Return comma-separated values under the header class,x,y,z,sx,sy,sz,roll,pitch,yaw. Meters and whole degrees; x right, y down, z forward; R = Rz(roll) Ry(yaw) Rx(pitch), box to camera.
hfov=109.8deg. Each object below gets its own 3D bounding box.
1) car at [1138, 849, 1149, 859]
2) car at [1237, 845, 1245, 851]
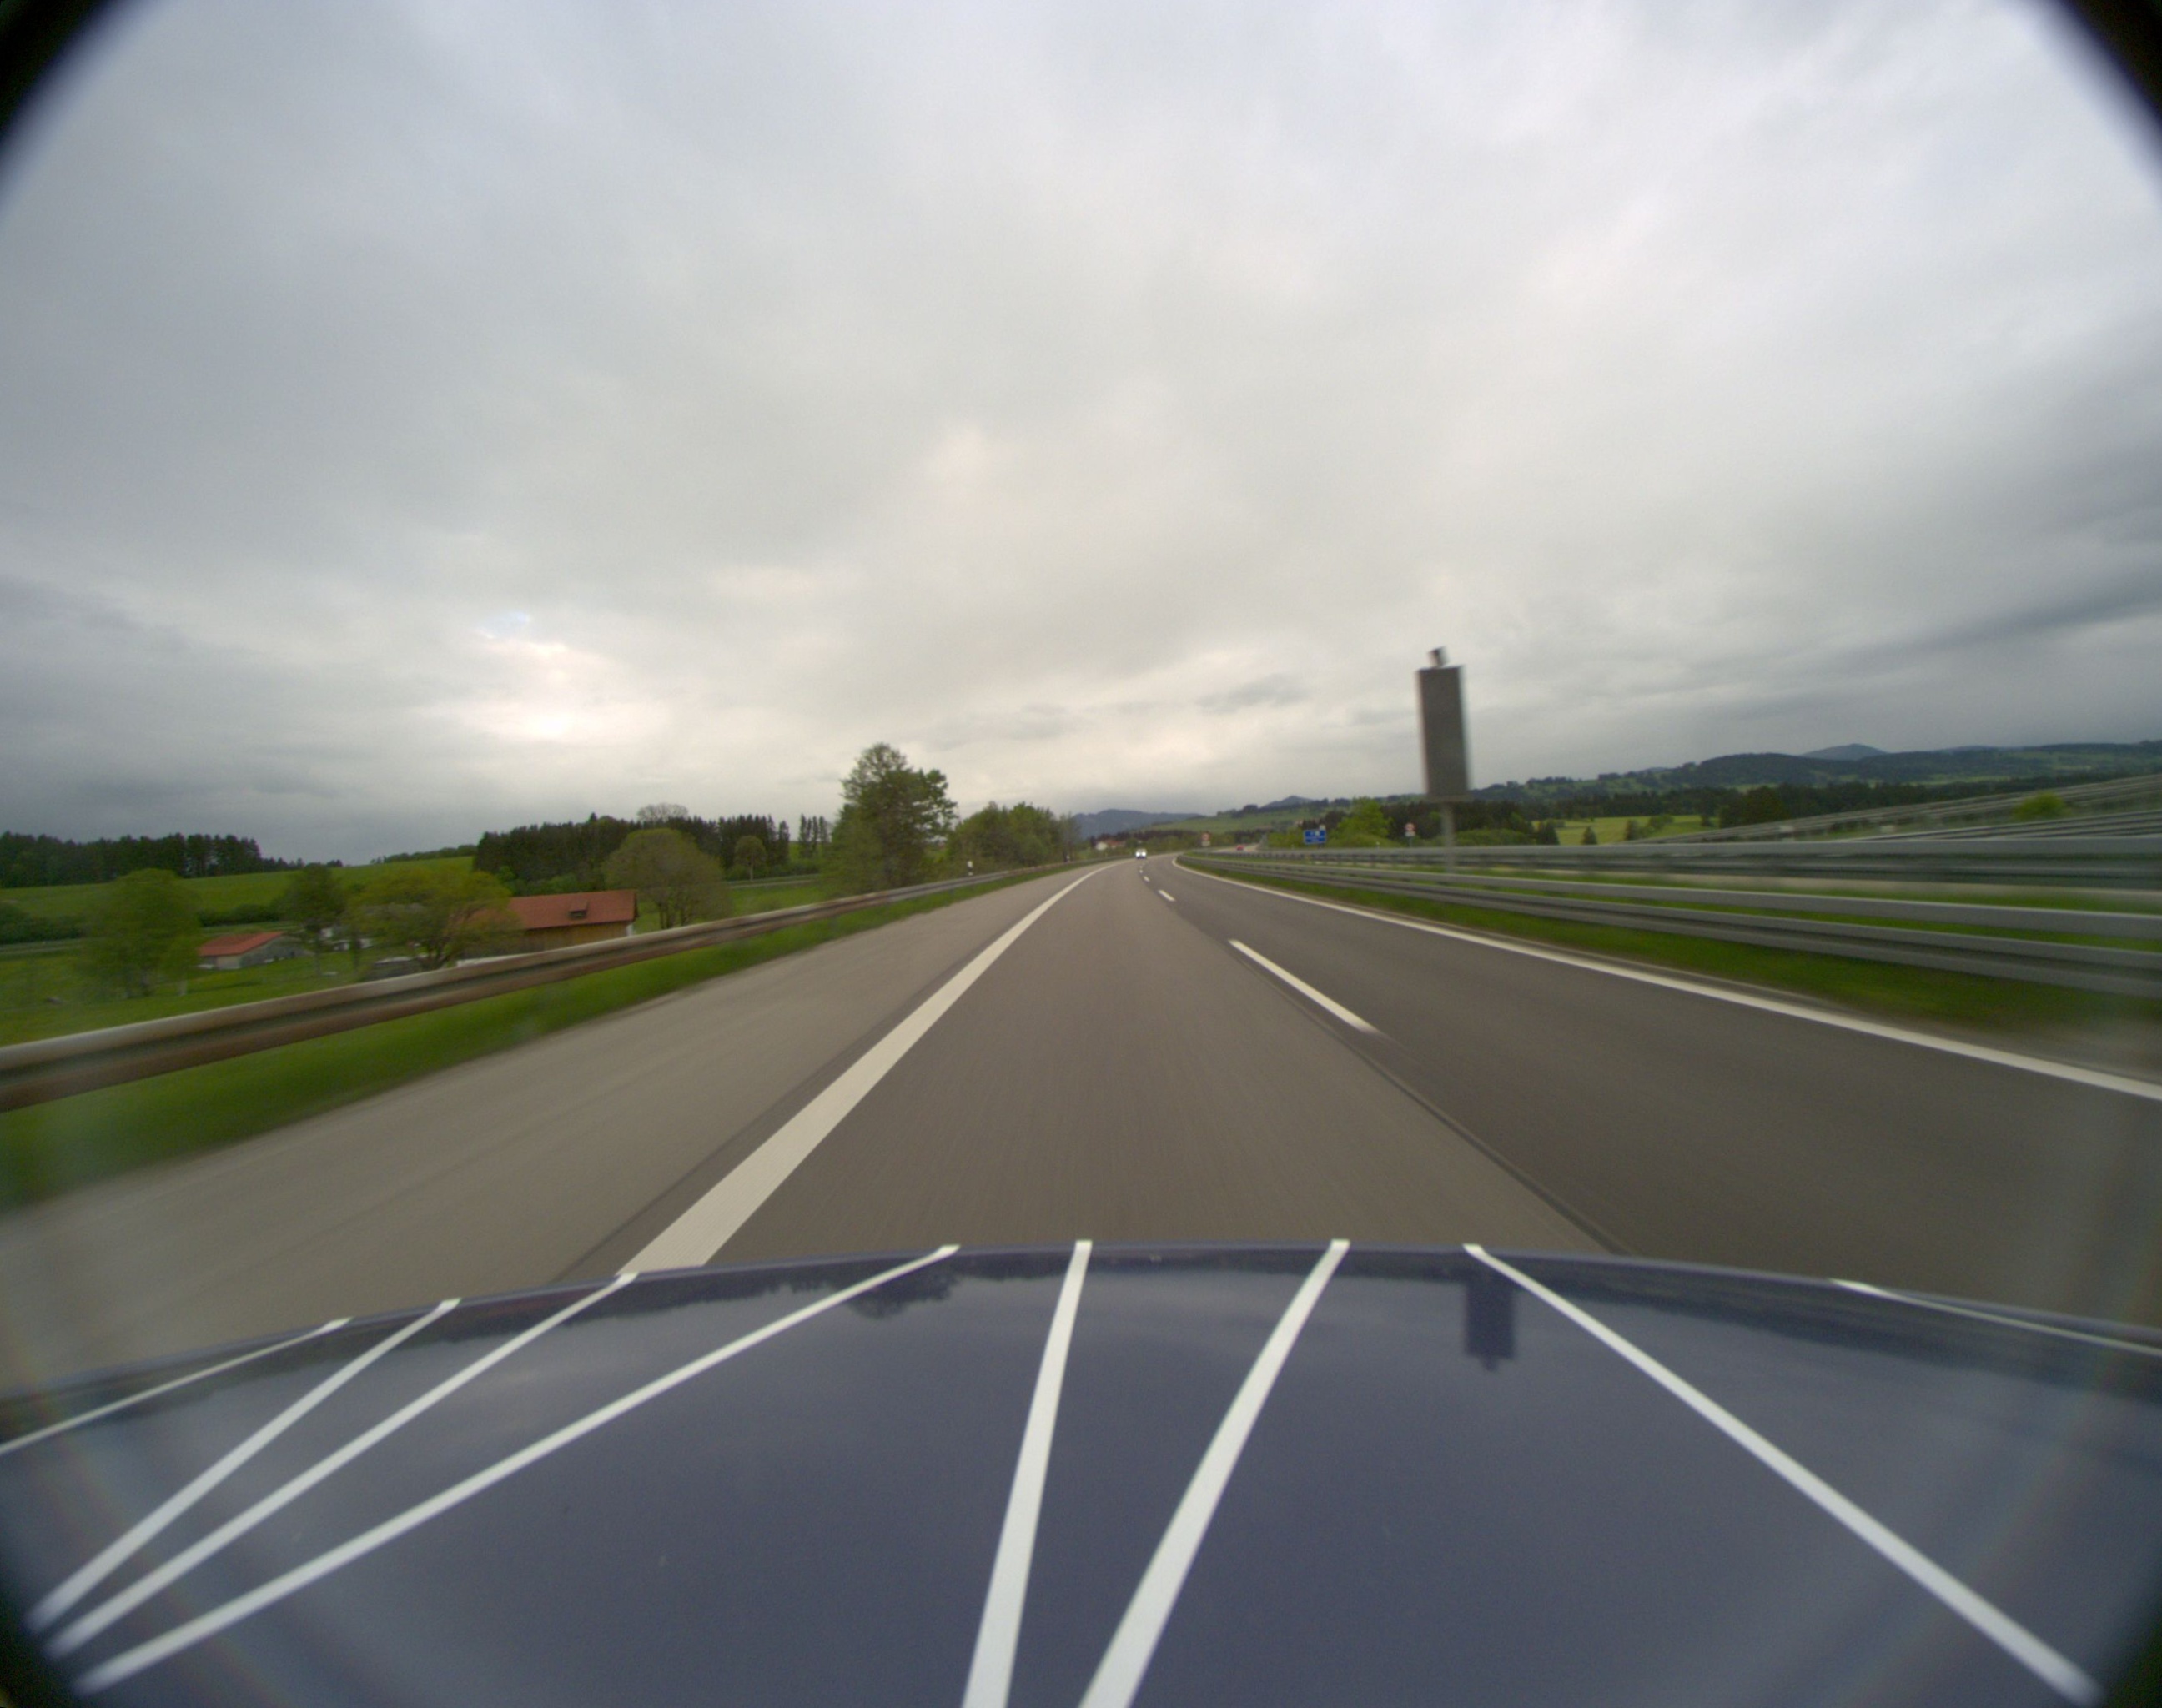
class,x,y,z,sx,sy,sz,roll,pitch,yaw
car,12.386,0.002,150.328,2.020,1.899,4.223,-2,0,6
car,48.186,-1.847,228.682,1.997,1.489,4.155,-5,0,15
